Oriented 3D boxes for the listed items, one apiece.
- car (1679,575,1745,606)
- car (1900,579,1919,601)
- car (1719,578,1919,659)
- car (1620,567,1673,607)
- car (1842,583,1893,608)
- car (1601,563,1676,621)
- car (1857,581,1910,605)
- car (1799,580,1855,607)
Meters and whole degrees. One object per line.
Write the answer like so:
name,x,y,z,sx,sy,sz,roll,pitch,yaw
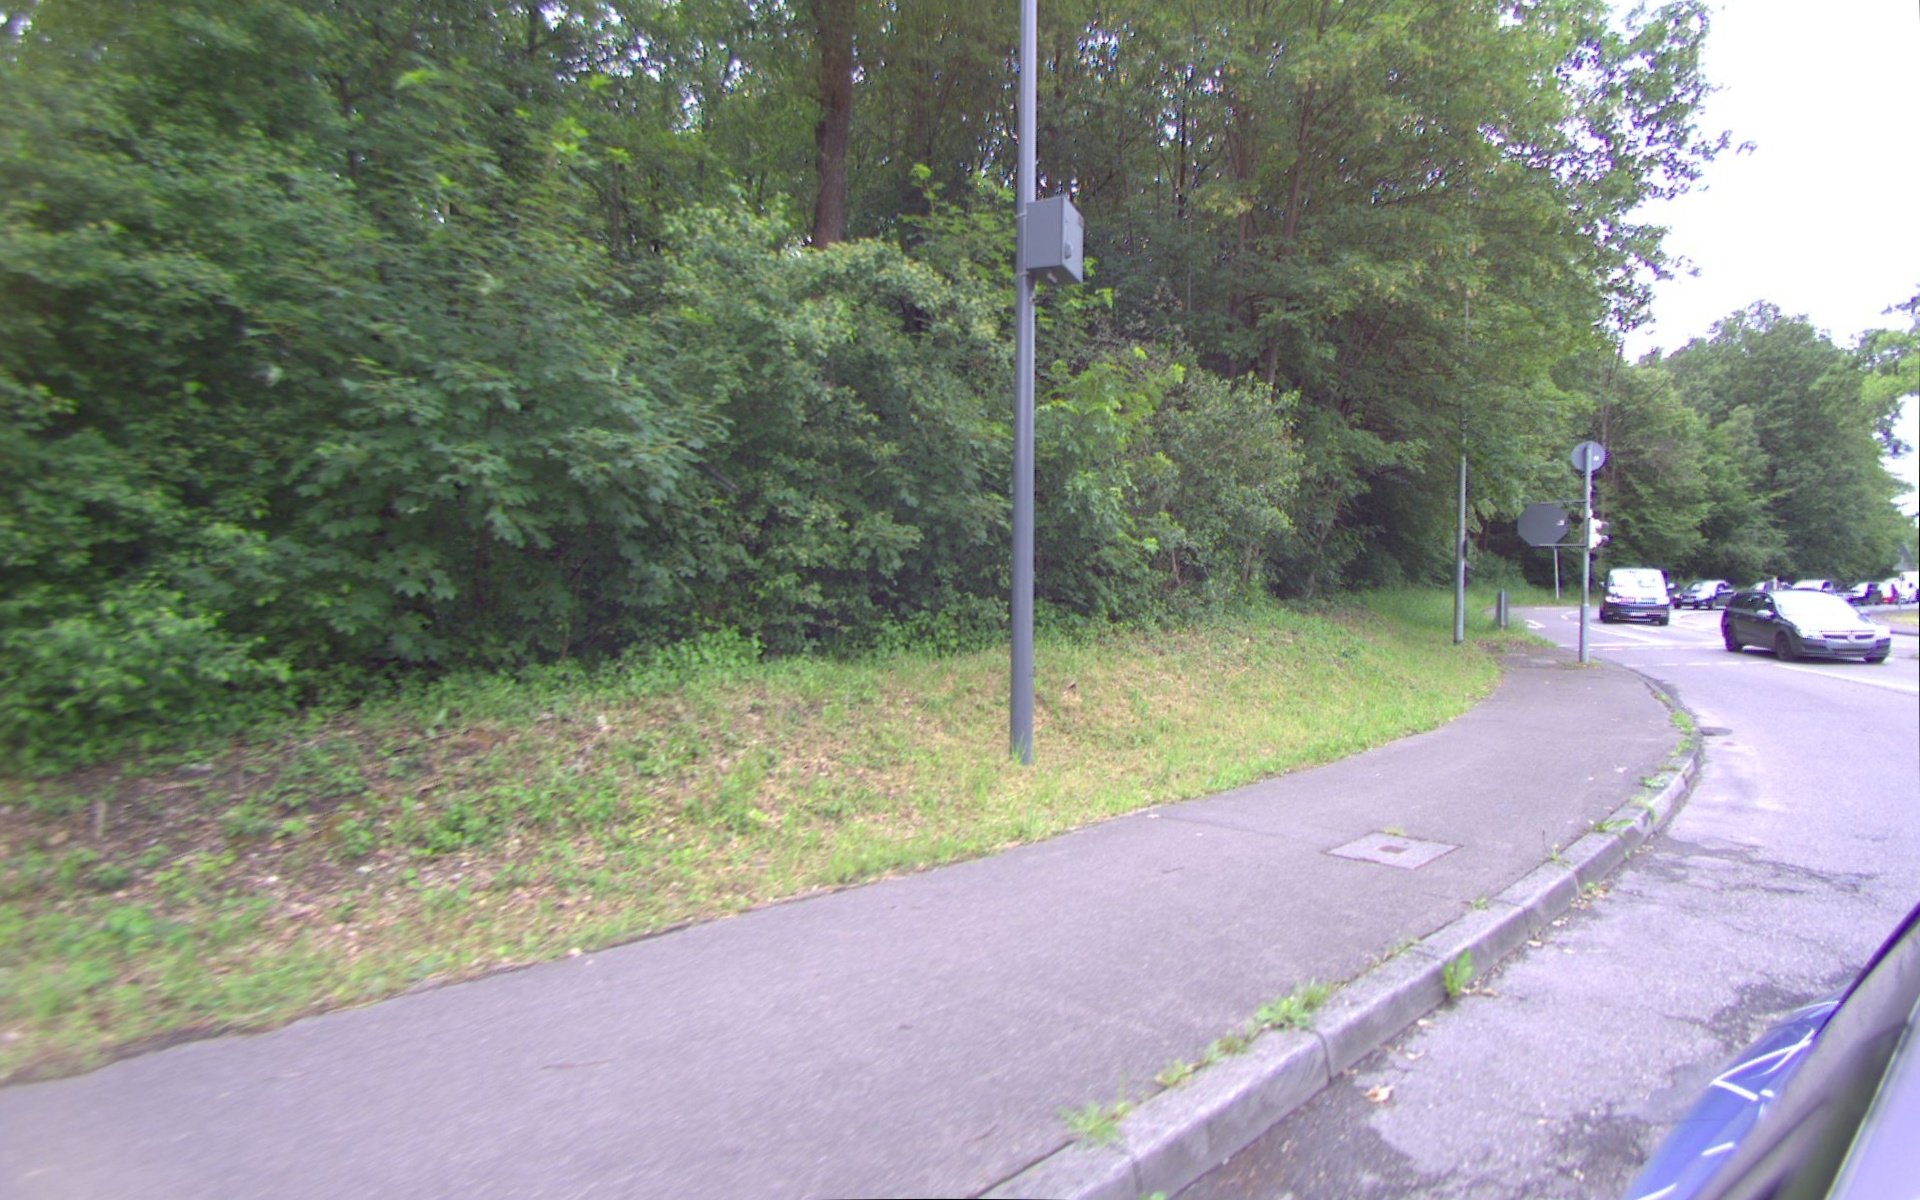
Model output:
car,38.761,-0.506,52.151,3.802,1.518,1.779,0,2,-38
car,68.244,-0.705,71.560,3.799,1.518,1.780,0,2,-35
car,18.539,0.311,22.087,1.781,1.497,4.444,2,2,19
car,31.045,-0.610,45.723,1.784,1.694,3.938,2,2,36
car,57.352,-0.286,63.940,3.802,1.518,1.779,0,2,-38
car,24.044,-0.320,35.797,1.980,1.895,4.473,3,2,36
car,61.764,-0.494,67.683,3.799,1.518,1.780,0,2,-35
car,51.129,-0.379,59.689,3.802,1.518,1.779,0,2,-38
